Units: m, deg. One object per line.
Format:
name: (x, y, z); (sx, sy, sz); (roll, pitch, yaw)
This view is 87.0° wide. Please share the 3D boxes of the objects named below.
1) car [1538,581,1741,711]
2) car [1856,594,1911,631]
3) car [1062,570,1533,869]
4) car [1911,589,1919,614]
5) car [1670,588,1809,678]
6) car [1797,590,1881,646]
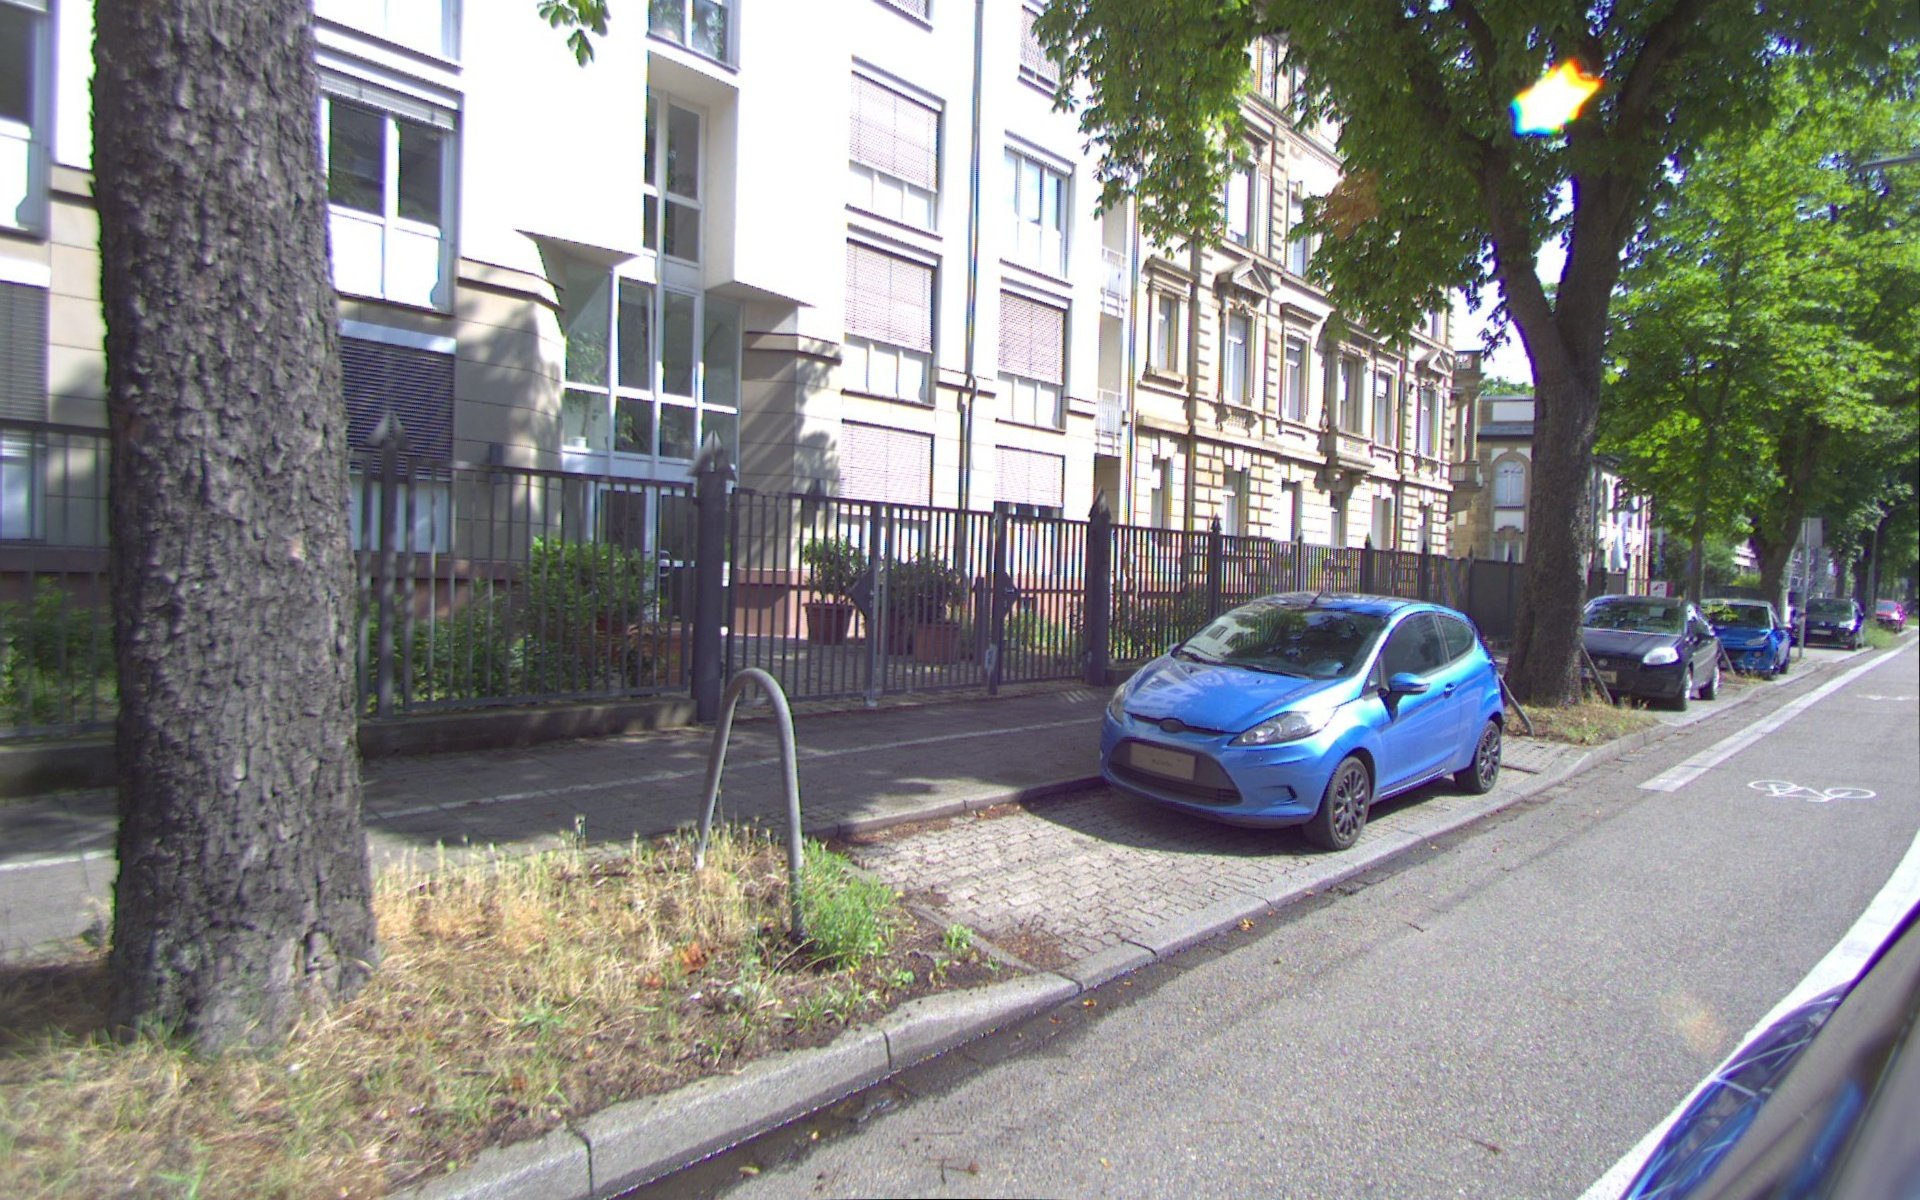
car: (9.739, 0.560, 14.402); (1.676, 1.493, 3.602); (7, 5, 44)
car: (44.601, 0.575, 48.859); (1.741, 1.592, 3.867); (7, 5, 44)
car: (2.554, 0.621, 7.230); (3.600, 1.493, 1.645); (0, 5, -44)
car: (62.562, 0.145, 65.169); (1.741, 1.592, 3.867); (7, 5, 44)
car: (15.511, 0.577, 20.072); (1.676, 1.493, 3.602); (7, 5, 44)
car: (28.582, 0.546, 32.878); (1.741, 1.592, 3.602); (7, 5, 44)
